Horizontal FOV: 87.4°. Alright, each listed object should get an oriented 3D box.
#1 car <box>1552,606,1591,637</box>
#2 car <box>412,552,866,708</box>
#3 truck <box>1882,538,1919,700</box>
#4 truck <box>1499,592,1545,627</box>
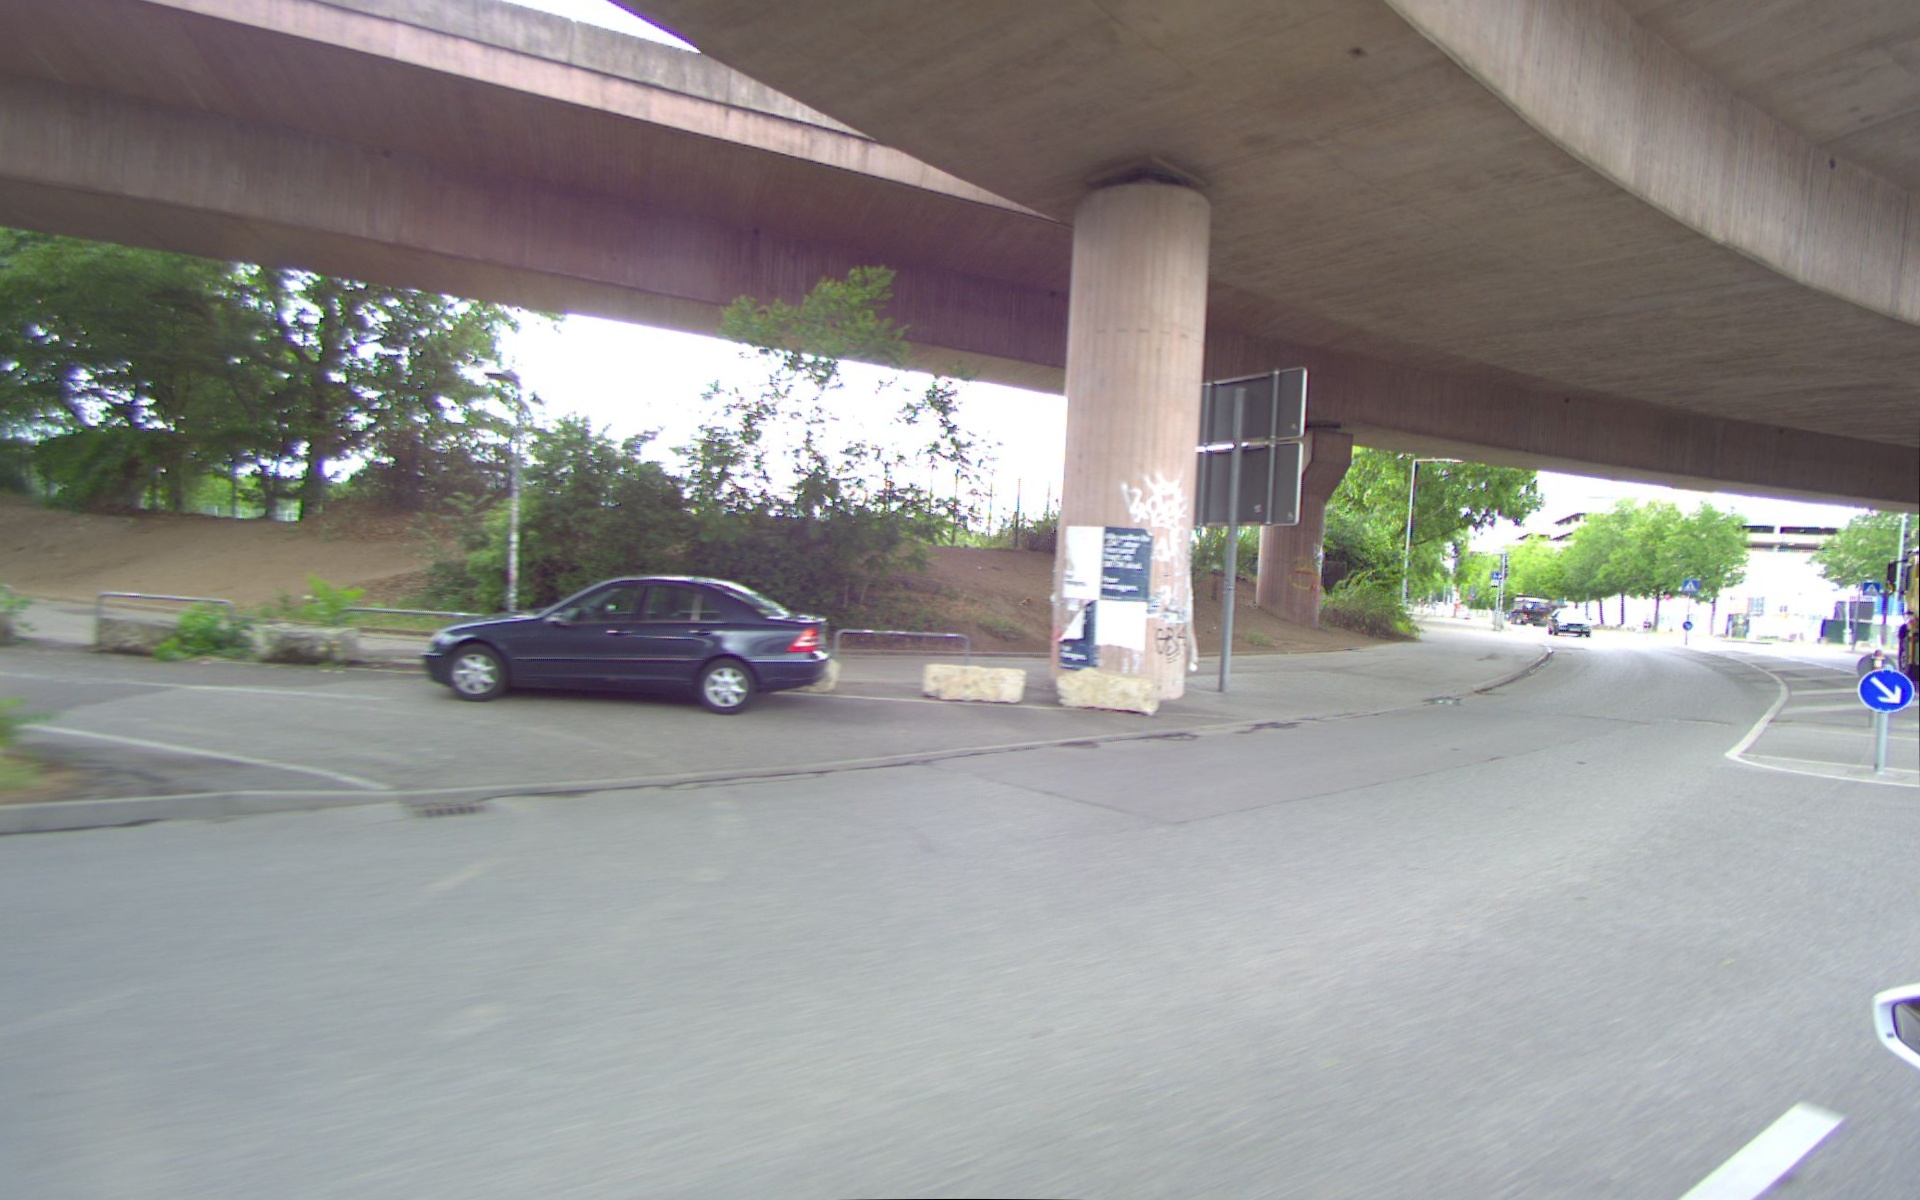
[{"bbox_3d":[32.357,1.128,53.092,1.653,1.449,3.990,3,1,32],"label":"car"},{"bbox_3d":[-3.507,0.296,11.699,4.682,1.450,1.827,3,3,-4],"label":"car"},{"bbox_3d":[23.487,0.454,22.703,2.720,3.747,7.858,1,-1,34],"label":"truck"},{"bbox_3d":[59.535,1.079,106.601,2.628,3.605,7.926,1,-1,18],"label":"truck"}]
